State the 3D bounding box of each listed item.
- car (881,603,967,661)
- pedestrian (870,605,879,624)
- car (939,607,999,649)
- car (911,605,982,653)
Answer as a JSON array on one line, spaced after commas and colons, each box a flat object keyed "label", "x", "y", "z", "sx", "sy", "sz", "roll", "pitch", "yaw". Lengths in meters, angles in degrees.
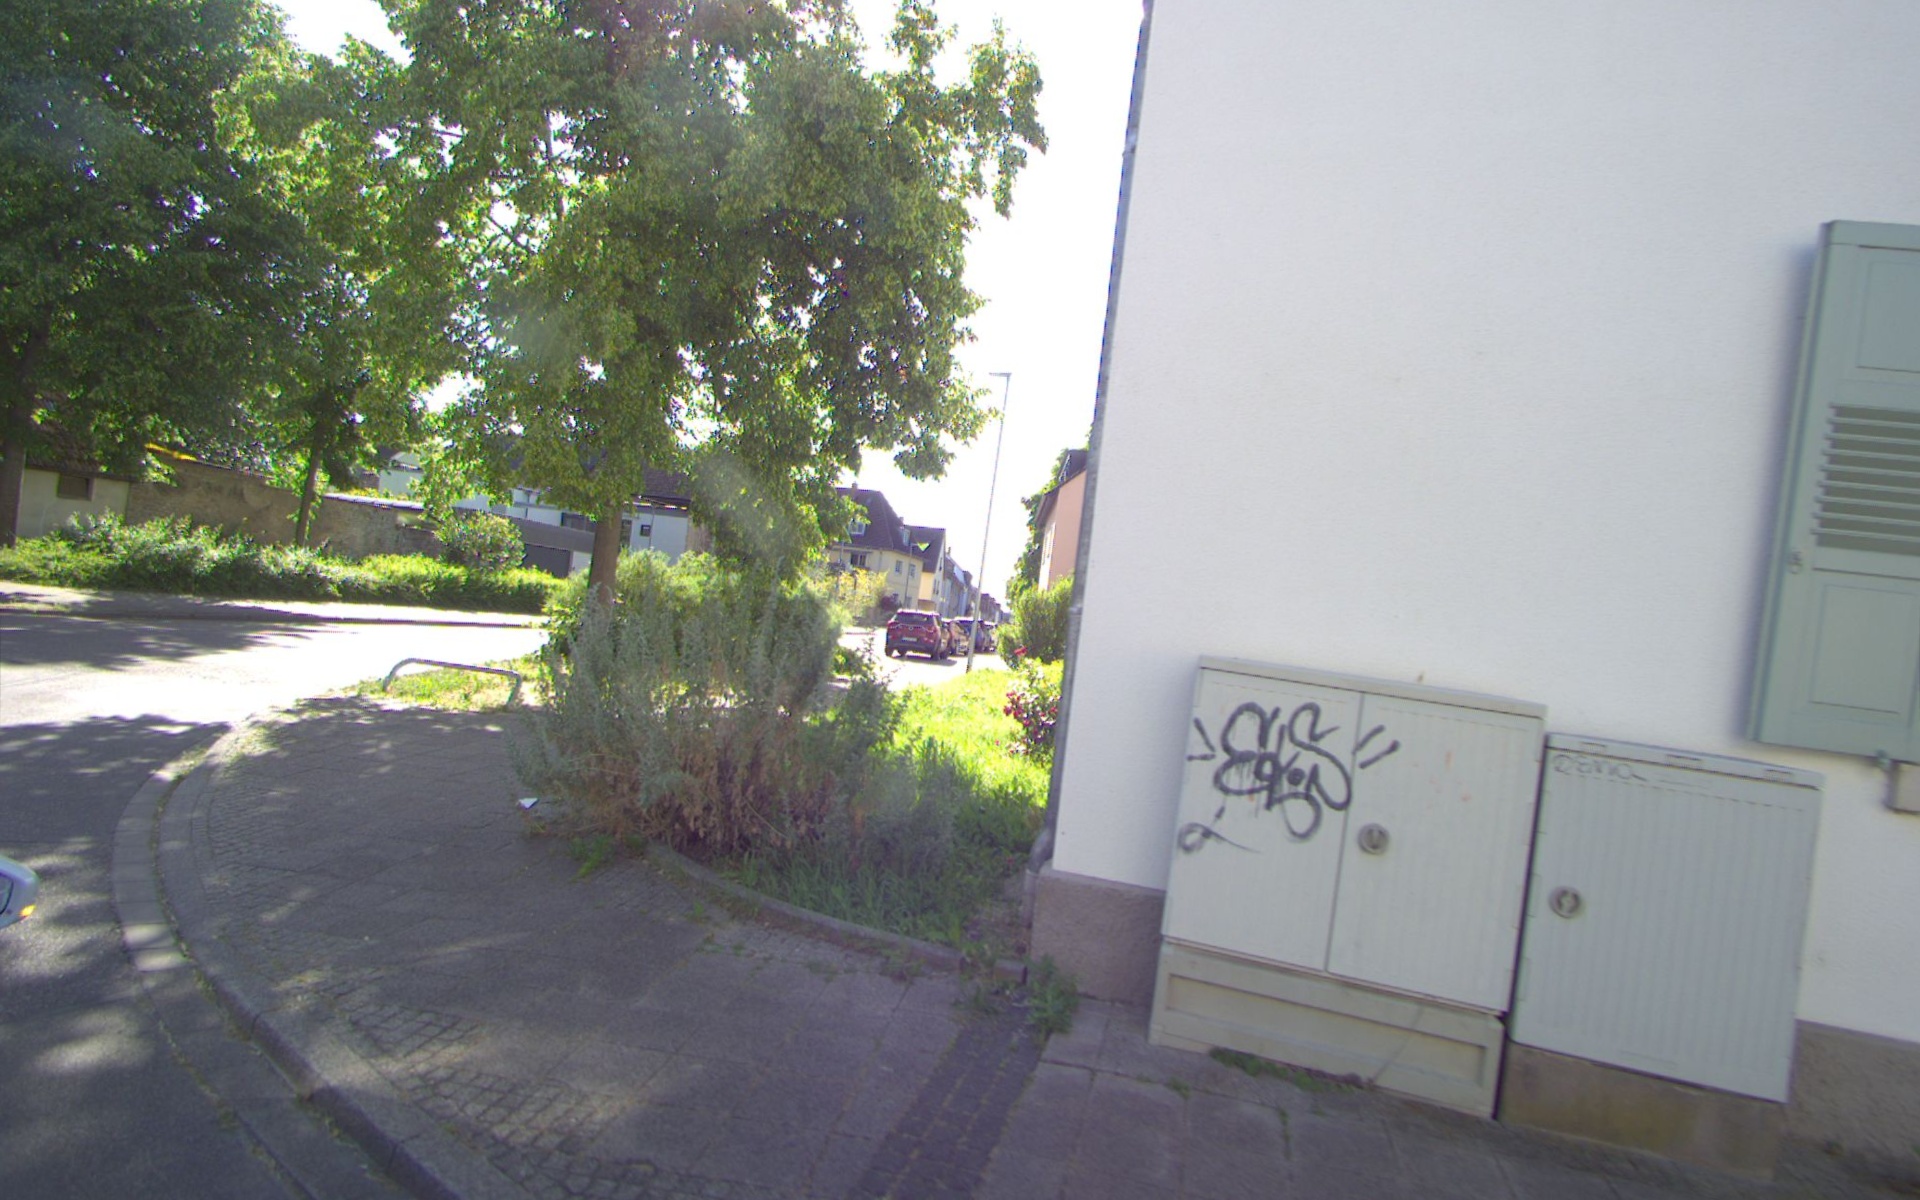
[{"label": "car", "x": -1.196, "y": 1.125, "z": 35.273, "sx": 1.878, "sy": 1.696, "sz": 4.002, "roll": 7, "pitch": 0, "yaw": 13}, {"label": "pedestrian", "x": -6.295, "y": 1.090, "z": 73.931, "sx": 0.394, "sy": 1.364, "sz": 0.442, "roll": 6, "pitch": 1, "yaw": 12}, {"label": "car", "x": 0.489, "y": 1.374, "z": 48.623, "sx": 1.878, "sy": 1.696, "sz": 4.002, "roll": 7, "pitch": 0, "yaw": 13}, {"label": "car", "x": -0.514, "y": 1.230, "z": 42.195, "sx": 1.878, "sy": 1.696, "sz": 4.002, "roll": 7, "pitch": 0, "yaw": 13}]
